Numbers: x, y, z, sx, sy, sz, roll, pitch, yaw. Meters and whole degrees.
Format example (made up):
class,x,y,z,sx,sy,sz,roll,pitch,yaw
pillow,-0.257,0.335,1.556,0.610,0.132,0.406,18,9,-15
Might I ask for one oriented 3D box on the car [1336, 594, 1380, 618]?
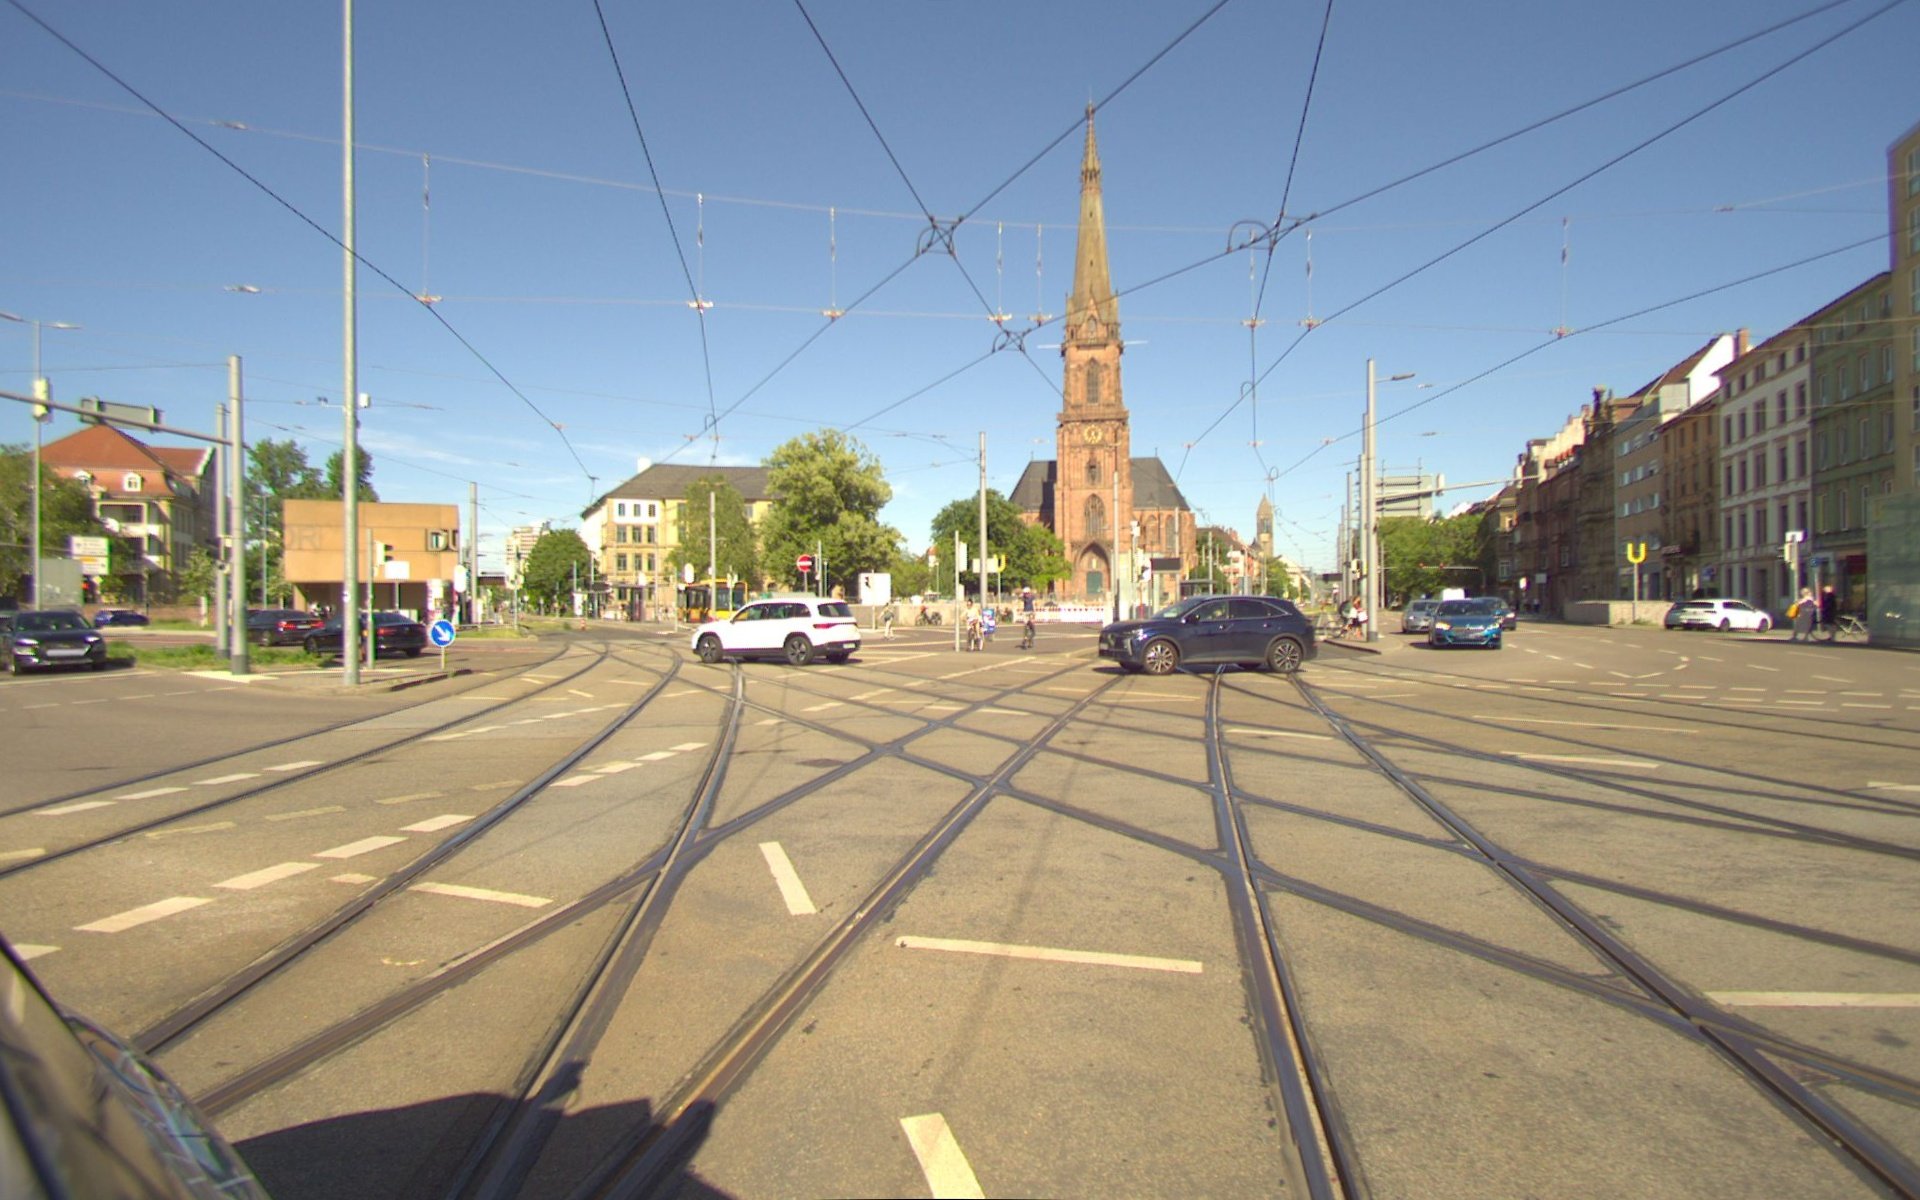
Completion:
class,x,y,z,sx,sy,sz,roll,pitch,yaw
car,24.219,0.367,61.755,1.895,1.371,3.983,-1,0,13

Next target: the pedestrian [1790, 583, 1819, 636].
class,x,y,z,sx,sy,sz,roll,pitch,yaw
pedestrian,27.925,0.309,33.463,0.613,1.718,0.709,-1,1,31

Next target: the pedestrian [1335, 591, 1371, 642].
class,x,y,z,sx,sy,sz,roll,pitch,yaw
pedestrian,15.071,0.619,38.806,0.993,1.917,0.981,-1,1,39

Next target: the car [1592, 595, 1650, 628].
class,x,y,z,sx,sy,sz,roll,pitch,yaw
car,37.278,0.608,57.173,1.987,1.678,3.971,-1,1,22

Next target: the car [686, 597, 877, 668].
class,x,y,z,sx,sy,sz,roll,pitch,yaw
car,-4.548,0.796,25.656,4.544,1.653,1.984,-1,0,28

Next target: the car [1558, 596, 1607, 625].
class,x,y,z,sx,sy,sz,roll,pitch,yaw
car,39.978,0.669,65.081,1.987,1.678,3.971,-1,1,22

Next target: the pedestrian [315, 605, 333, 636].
class,x,y,z,sx,sy,sz,roll,pitch,yaw
pedestrian,-37.169,1.190,59.119,0.634,1.725,0.703,-2,1,-12

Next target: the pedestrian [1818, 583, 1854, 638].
class,x,y,z,sx,sy,sz,roll,pitch,yaw
pedestrian,27.754,0.324,32.072,0.714,1.718,0.609,-1,1,31

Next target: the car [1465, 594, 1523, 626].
class,x,y,z,sx,sy,sz,roll,pitch,yaw
car,23.527,0.402,44.706,1.785,1.338,4.566,-1,0,22

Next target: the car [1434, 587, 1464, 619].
class,x,y,z,sx,sy,sz,roll,pitch,yaw
car,50.608,0.265,104.872,1.983,3.130,4.895,-1,1,17

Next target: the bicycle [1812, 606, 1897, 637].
class,x,y,z,sx,sy,sz,roll,pitch,yaw
bicycle,28.517,0.693,32.298,1.940,0.928,0.614,-1,1,29

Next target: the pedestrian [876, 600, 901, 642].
class,x,y,z,sx,sy,sz,roll,pitch,yaw
pedestrian,-2.855,0.841,40.378,0.607,1.619,0.705,-1,1,38

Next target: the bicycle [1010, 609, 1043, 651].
class,x,y,z,sx,sy,sz,roll,pitch,yaw
bicycle,2.118,0.916,31.955,0.611,1.266,1.953,-1,0,17

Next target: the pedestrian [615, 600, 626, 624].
class,x,y,z,sx,sy,sz,roll,pitch,yaw
pedestrian,-26.144,0.916,77.969,0.679,1.875,0.732,-2,1,-22

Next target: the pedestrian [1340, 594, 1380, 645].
class,x,y,z,sx,sy,sz,roll,pitch,yaw
pedestrian,14.618,0.707,36.963,0.979,1.813,0.995,-3,1,-43

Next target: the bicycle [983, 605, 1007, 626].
class,x,y,z,sx,sy,sz,roll,pitch,yaw
bicycle,2.246,0.976,64.774,1.476,1.279,0.366,-2,1,-21

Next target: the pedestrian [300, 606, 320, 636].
class,x,y,z,sx,sy,sz,roll,pitch,yaw
pedestrian,-38.157,1.214,59.447,0.738,1.725,0.703,-2,1,-12

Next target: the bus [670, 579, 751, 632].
class,x,y,z,sx,sy,sz,roll,pitch,yaw
bus,-17.434,0.252,69.955,2.801,3.144,11.860,-2,3,-27

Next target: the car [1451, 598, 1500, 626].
class,x,y,z,sx,sy,sz,roll,pitch,yaw
car,26.420,0.600,51.974,1.785,1.338,4.566,-1,0,22

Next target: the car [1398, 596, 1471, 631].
class,x,y,z,sx,sy,sz,roll,pitch,yaw
car,19.362,0.506,41.449,1.779,1.338,4.580,-1,0,14

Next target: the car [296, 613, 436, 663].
class,x,y,z,sx,sy,sz,roll,pitch,yaw
car,-18.687,1.173,31.793,4.463,1.427,1.833,-1,0,30

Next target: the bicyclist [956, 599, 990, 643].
class,x,y,z,sx,sy,sz,roll,pitch,yaw
bicyclist,0.410,0.640,31.048,0.757,1.332,0.787,-1,-1,30

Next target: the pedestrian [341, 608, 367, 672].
class,x,y,z,sx,sy,sz,roll,pitch,yaw
pedestrian,-15.203,0.986,25.384,0.367,1.567,0.645,-3,1,-44

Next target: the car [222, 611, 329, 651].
class,x,y,z,sx,sy,sz,roll,pitch,yaw
car,-27.505,1.236,40.645,4.630,1.469,1.867,-1,1,33

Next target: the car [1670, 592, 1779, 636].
class,x,y,z,sx,sy,sz,roll,pitch,yaw
car,34.234,0.577,45.320,3.931,1.765,2.006,-2,1,-19

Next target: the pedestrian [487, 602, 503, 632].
class,x,y,z,sx,sy,sz,roll,pitch,yaw
pedestrian,-30.242,1.099,65.830,0.844,1.895,0.695,-2,1,-17

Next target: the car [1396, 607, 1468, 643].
class,x,y,z,sx,sy,sz,roll,pitch,yaw
car,19.441,1.006,41.859,1.895,1.371,3.983,-1,0,13

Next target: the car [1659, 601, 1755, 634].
class,x,y,z,sx,sy,sz,roll,pitch,yaw
car,36.023,0.818,48.807,3.931,1.370,1.823,-2,1,-19

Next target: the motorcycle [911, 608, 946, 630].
class,x,y,z,sx,sy,sz,roll,pitch,yaw
motorcycle,-1.923,1.182,62.541,2.070,1.263,0.536,-2,1,-26

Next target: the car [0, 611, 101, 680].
class,x,y,z,sx,sy,sz,roll,pitch,yaw
car,-23.381,1.105,25.713,3.911,1.543,1.665,-1,1,39

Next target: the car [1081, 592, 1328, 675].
class,x,y,z,sx,sy,sz,roll,pitch,yaw
car,5.051,0.653,21.223,4.555,1.589,2.049,-1,0,-9

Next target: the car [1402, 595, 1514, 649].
class,x,y,z,sx,sy,sz,roll,pitch,yaw
car,14.799,0.615,30.358,1.894,1.469,4.583,-1,0,12

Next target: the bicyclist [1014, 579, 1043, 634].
class,x,y,z,sx,sy,sz,roll,pitch,yaw
bicyclist,2.162,0.206,31.995,0.753,1.688,0.791,-1,0,17

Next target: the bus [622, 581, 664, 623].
class,x,y,z,sx,sy,sz,roll,pitch,yaw
bus,-24.680,0.191,78.630,2.104,3.069,8.586,-2,0,-23

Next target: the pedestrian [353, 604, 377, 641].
class,x,y,z,sx,sy,sz,roll,pitch,yaw
pedestrian,-30.954,1.159,52.660,0.844,1.842,0.704,-2,1,-17

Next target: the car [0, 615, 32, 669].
class,x,y,z,sx,sy,sz,roll,pitch,yaw
car,-28.779,1.218,29.336,4.651,1.469,1.804,-1,1,36

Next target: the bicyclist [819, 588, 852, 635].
class,x,y,z,sx,sy,sz,roll,pitch,yaw
bicyclist,-4.268,0.390,34.819,0.595,1.561,0.984,-1,0,36

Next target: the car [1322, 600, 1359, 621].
class,x,y,z,sx,sy,sz,roll,pitch,yaw
car,26.490,0.697,70.607,1.895,1.371,3.983,-1,0,13

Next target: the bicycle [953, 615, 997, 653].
class,x,y,z,sx,sy,sz,roll,pitch,yaw
bicycle,0.478,1.040,31.176,0.613,1.113,1.707,-1,0,29
